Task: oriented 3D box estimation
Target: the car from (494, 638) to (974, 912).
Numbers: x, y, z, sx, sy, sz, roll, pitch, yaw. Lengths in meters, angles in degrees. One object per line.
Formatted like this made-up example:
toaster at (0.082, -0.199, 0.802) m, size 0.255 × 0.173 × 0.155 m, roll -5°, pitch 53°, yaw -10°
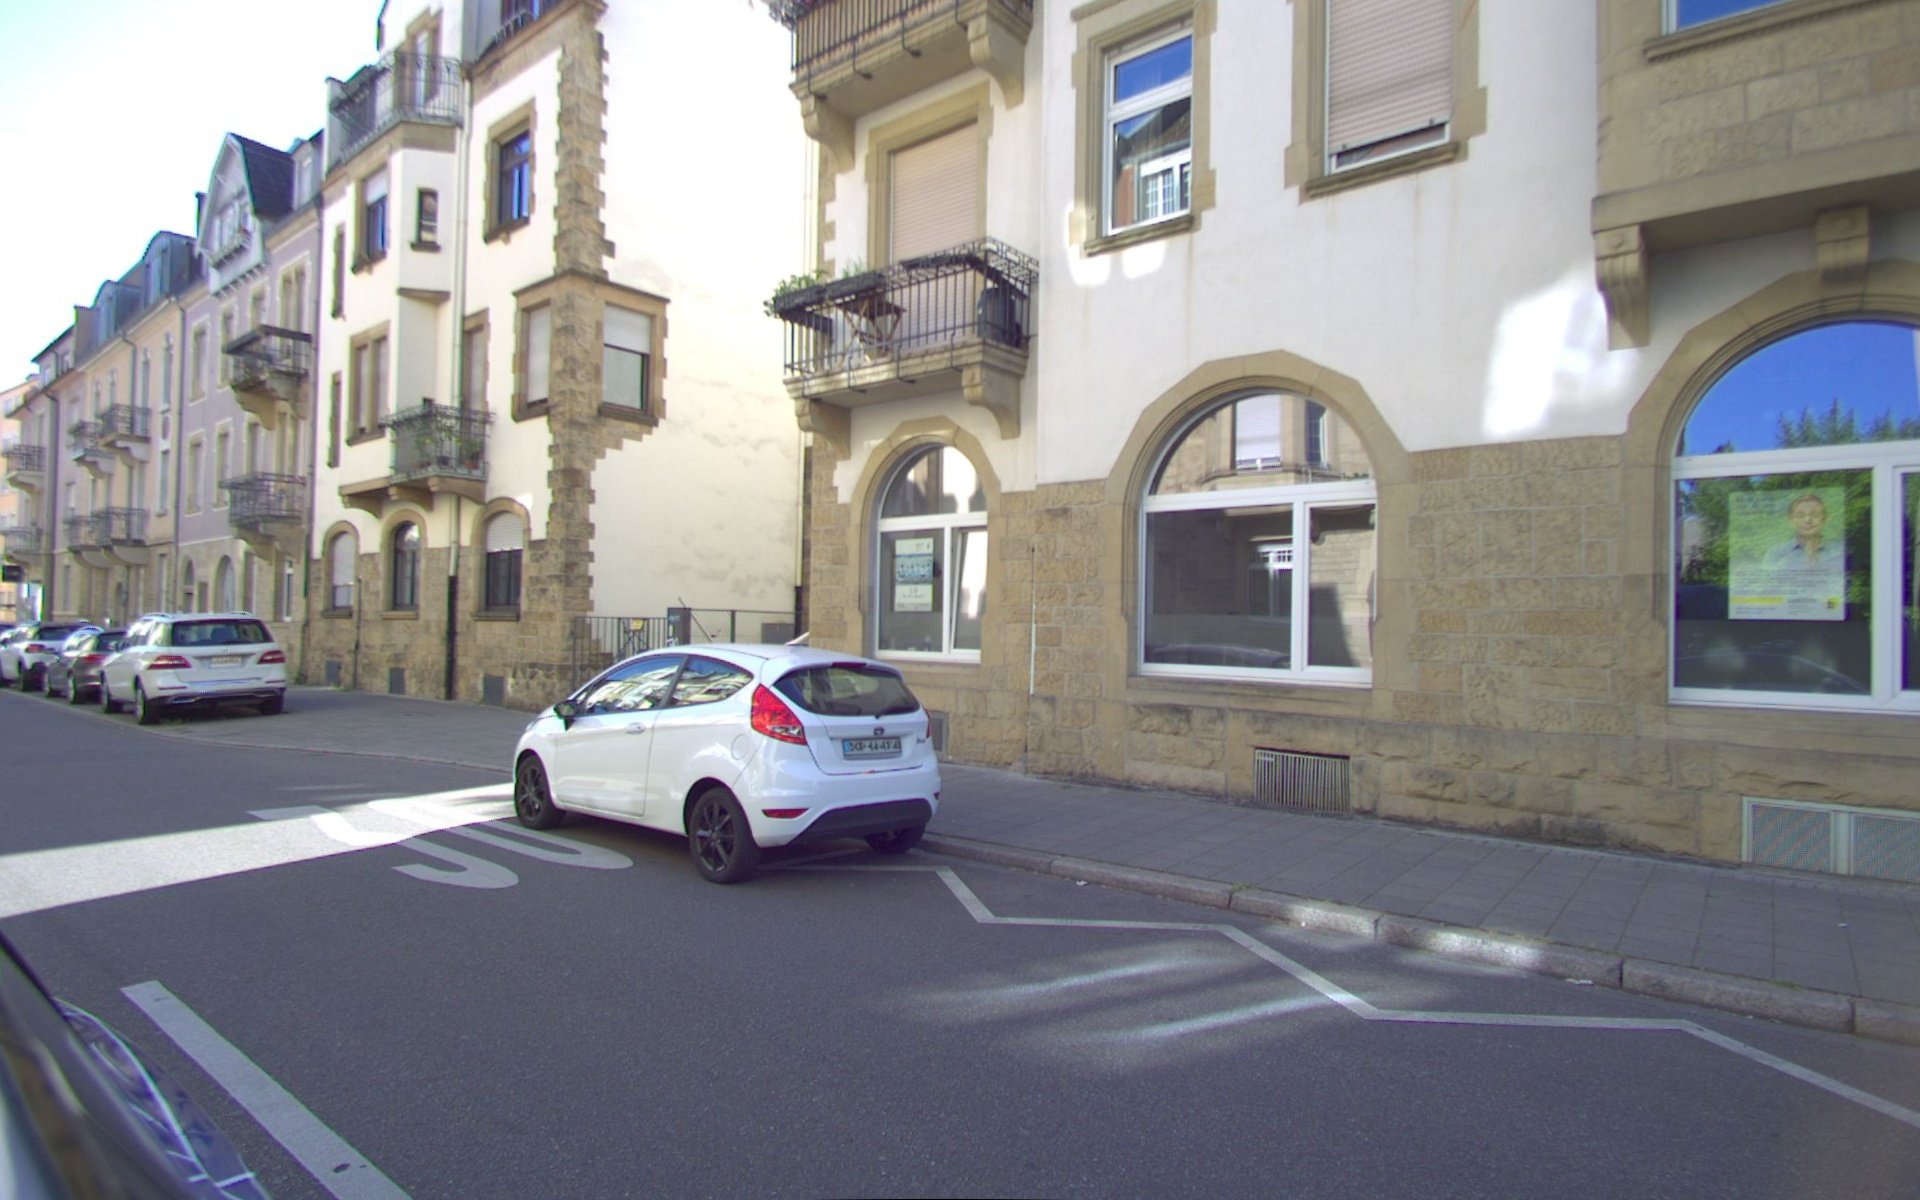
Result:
car at (-1.825, 1.037, 7.482) m, size 3.734 × 1.475 × 1.616 m, roll -1°, pitch -2°, yaw 43°

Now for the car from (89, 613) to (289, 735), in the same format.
car at (-13.282, 1.160, 17.319) m, size 4.725 × 1.735 × 1.872 m, roll -2°, pitch 1°, yaw 42°

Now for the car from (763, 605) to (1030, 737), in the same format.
car at (-0.850, 1.026, 15.469) m, size 1.908 × 1.741 × 3.928 m, roll -2°, pitch -3°, yaw 40°

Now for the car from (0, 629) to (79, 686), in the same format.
car at (-26.054, 1.553, 28.026) m, size 3.658 × 1.404 × 1.658 m, roll -1°, pitch 0°, yaw 35°

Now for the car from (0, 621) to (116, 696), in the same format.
car at (-22.036, 1.348, 24.449) m, size 4.015 × 1.595 × 1.698 m, roll -1°, pitch 0°, yaw 38°

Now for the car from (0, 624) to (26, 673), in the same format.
car at (-32.259, 1.579, 33.274) m, size 3.718 × 1.550 × 1.698 m, roll -1°, pitch -2°, yaw 38°

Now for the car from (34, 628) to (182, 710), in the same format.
car at (-17.706, 1.350, 20.963) m, size 4.275 × 1.498 × 1.558 m, roll -1°, pitch -1°, yaw 39°
